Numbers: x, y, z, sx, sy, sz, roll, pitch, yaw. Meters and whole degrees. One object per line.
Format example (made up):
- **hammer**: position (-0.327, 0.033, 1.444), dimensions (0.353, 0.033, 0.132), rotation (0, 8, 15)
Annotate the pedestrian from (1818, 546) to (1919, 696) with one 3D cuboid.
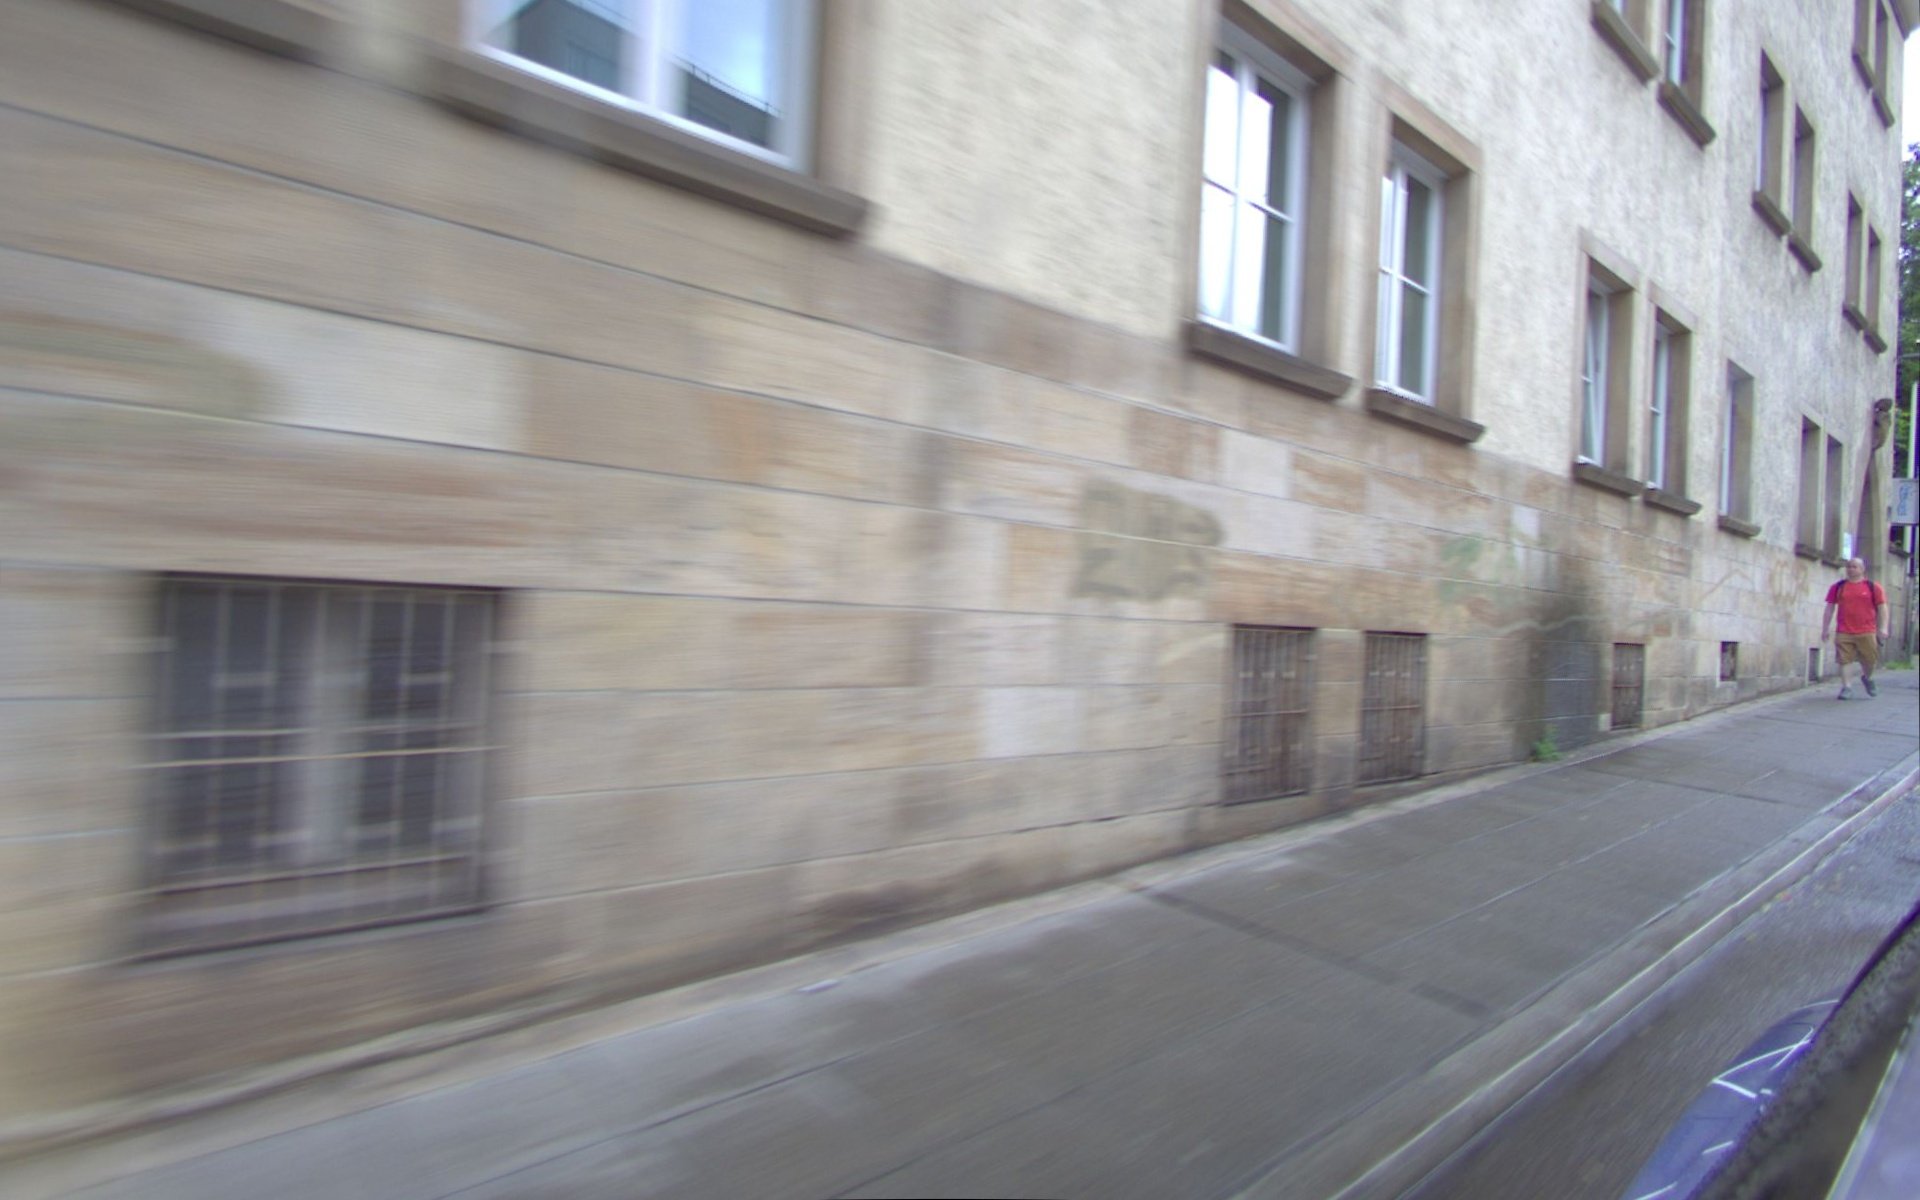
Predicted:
- **pedestrian**: position (11.486, 0.235, 12.785), dimensions (0.804, 1.785, 0.749), rotation (-1, 5, -40)
